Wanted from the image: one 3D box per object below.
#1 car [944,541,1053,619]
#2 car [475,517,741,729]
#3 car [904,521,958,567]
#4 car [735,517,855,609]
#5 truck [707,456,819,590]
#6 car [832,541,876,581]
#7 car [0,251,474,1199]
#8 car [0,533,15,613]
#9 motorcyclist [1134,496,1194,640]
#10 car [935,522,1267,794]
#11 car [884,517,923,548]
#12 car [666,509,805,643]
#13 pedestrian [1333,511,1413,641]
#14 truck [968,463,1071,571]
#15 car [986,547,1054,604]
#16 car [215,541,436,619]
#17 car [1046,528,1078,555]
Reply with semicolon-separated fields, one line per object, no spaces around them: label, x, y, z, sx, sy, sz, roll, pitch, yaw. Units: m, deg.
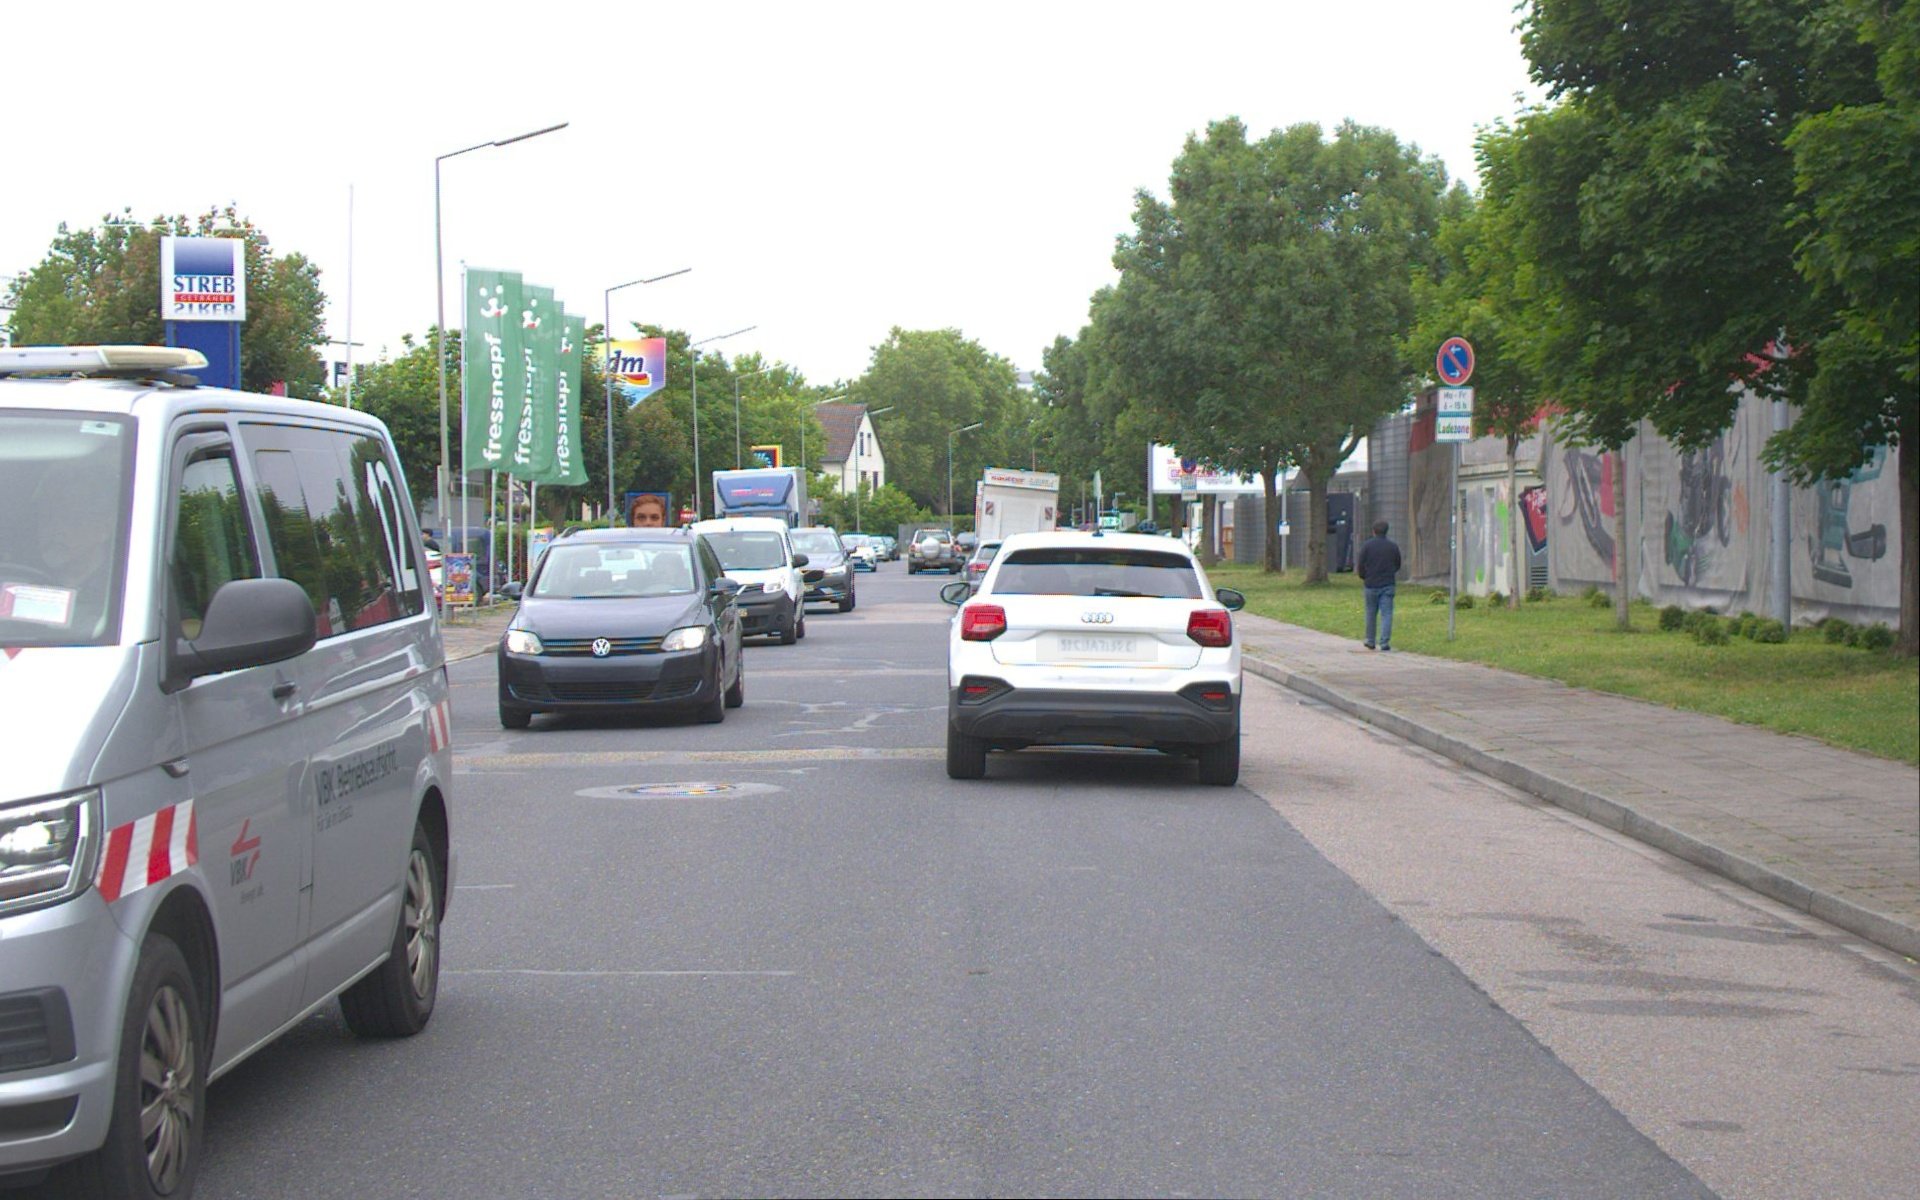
car;0.695;-0.396;64.689;1.937;1.362;4.000;-1;1;-1
car;-2.805;0.132;28.160;1.729;1.566;3.947;-2;1;0
car;-1.108;-2.126;128.895;1.869;1.656;4.001;-1;1;-2
car;-3.168;-0.737;66.988;1.933;1.678;4.495;-1;1;2
truck;-6.070;-2.394;106.955;2.973;3.942;6.405;-2;1;0
car;-4.228;-1.553;137.402;1.599;1.523;3.528;-2;1;0
car;-2.597;0.350;8.813;1.927;2.007;4.955;-1;1;1
car;-21.891;-0.535;71.394;3.987;1.663;1.876;-1;1;0
motorcyclist;2.232;-0.352;37.579;0.625;1.548;0.604;-1;1;2
car;0.835;0.294;22.091;1.886;1.526;4.254;2;1;0
car;-3.173;-3.770;192.314;1.774;1.649;3.749;1;1;-6
car;-3.147;-0.374;48.779;1.689;1.755;4.135;-2;1;-1
pedestrian;5.288;-0.311;44.042;0.919;1.629;0.852;1;0;2
truck;2.011;-2.857;120.879;3.135;3.572;10.051;1;1;-1
car;1.918;-0.801;111.520;1.993;1.799;4.000;1;1;-1
car;-12.502;-0.410;67.941;4.134;1.458;1.899;-1;1;-5
car;6.383;-3.681;215.585;1.886;1.677;4.254;2;1;0
